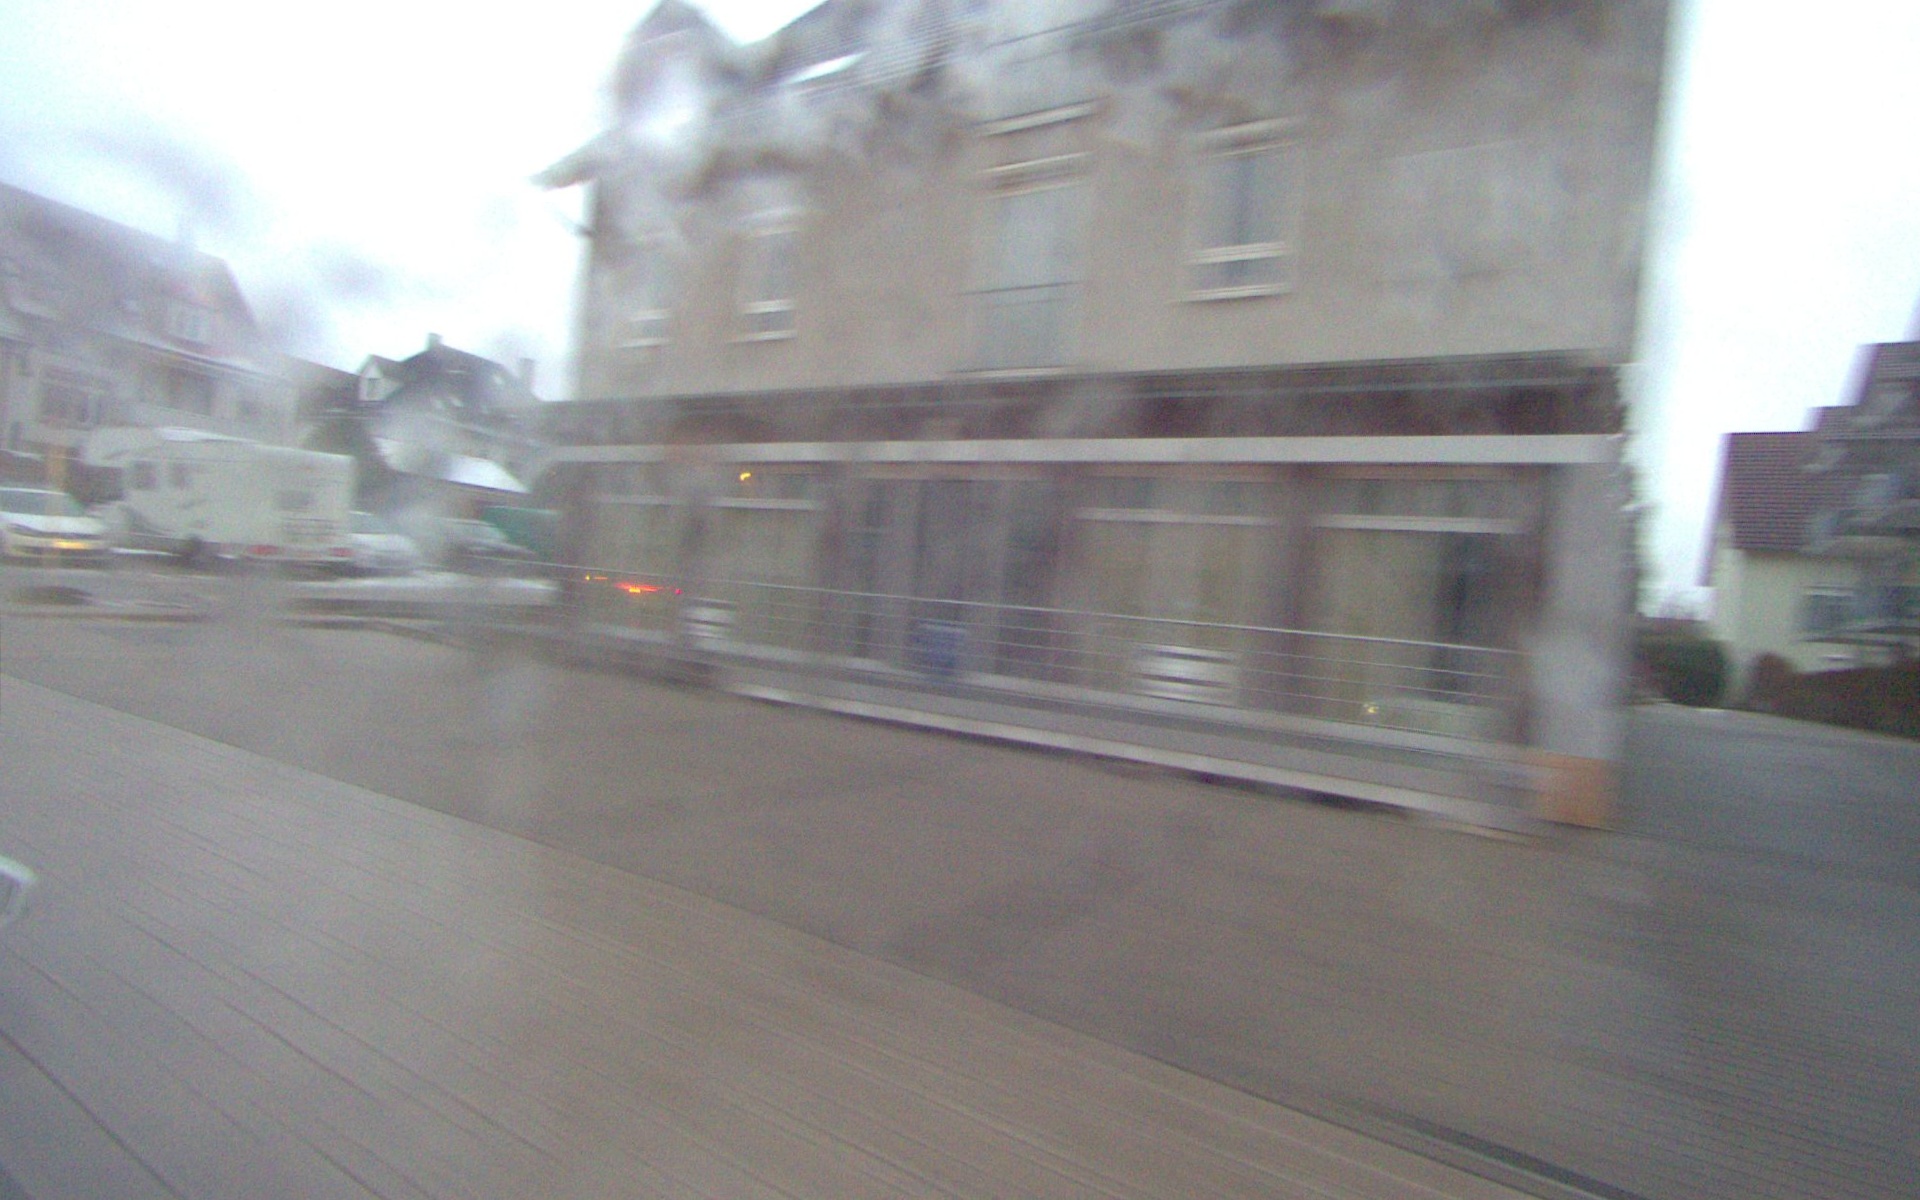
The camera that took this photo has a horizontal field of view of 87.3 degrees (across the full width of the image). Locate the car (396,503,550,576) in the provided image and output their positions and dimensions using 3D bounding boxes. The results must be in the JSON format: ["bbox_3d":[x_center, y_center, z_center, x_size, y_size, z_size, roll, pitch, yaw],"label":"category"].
[{"bbox_3d":[-13.433,-1.680,27.717,3.934,1.629,1.992,7,4,32],"label":"car"}]

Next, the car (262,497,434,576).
[{"bbox_3d":[-15.054,-1.570,24.725,3.929,1.577,1.788,7,6,26],"label":"car"}]

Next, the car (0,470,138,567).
[{"bbox_3d":[-18.624,-1.654,20.121,4.104,1.631,1.995,5,1,29],"label":"car"}]

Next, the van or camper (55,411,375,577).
[{"bbox_3d":[-16.967,-2.396,22.908,6.610,3.089,2.655,6,3,21],"label":"van or camper"}]

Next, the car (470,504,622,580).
[{"bbox_3d":[-12.529,-1.766,30.327,4.722,1.910,1.777,6,3,32],"label":"car"}]
